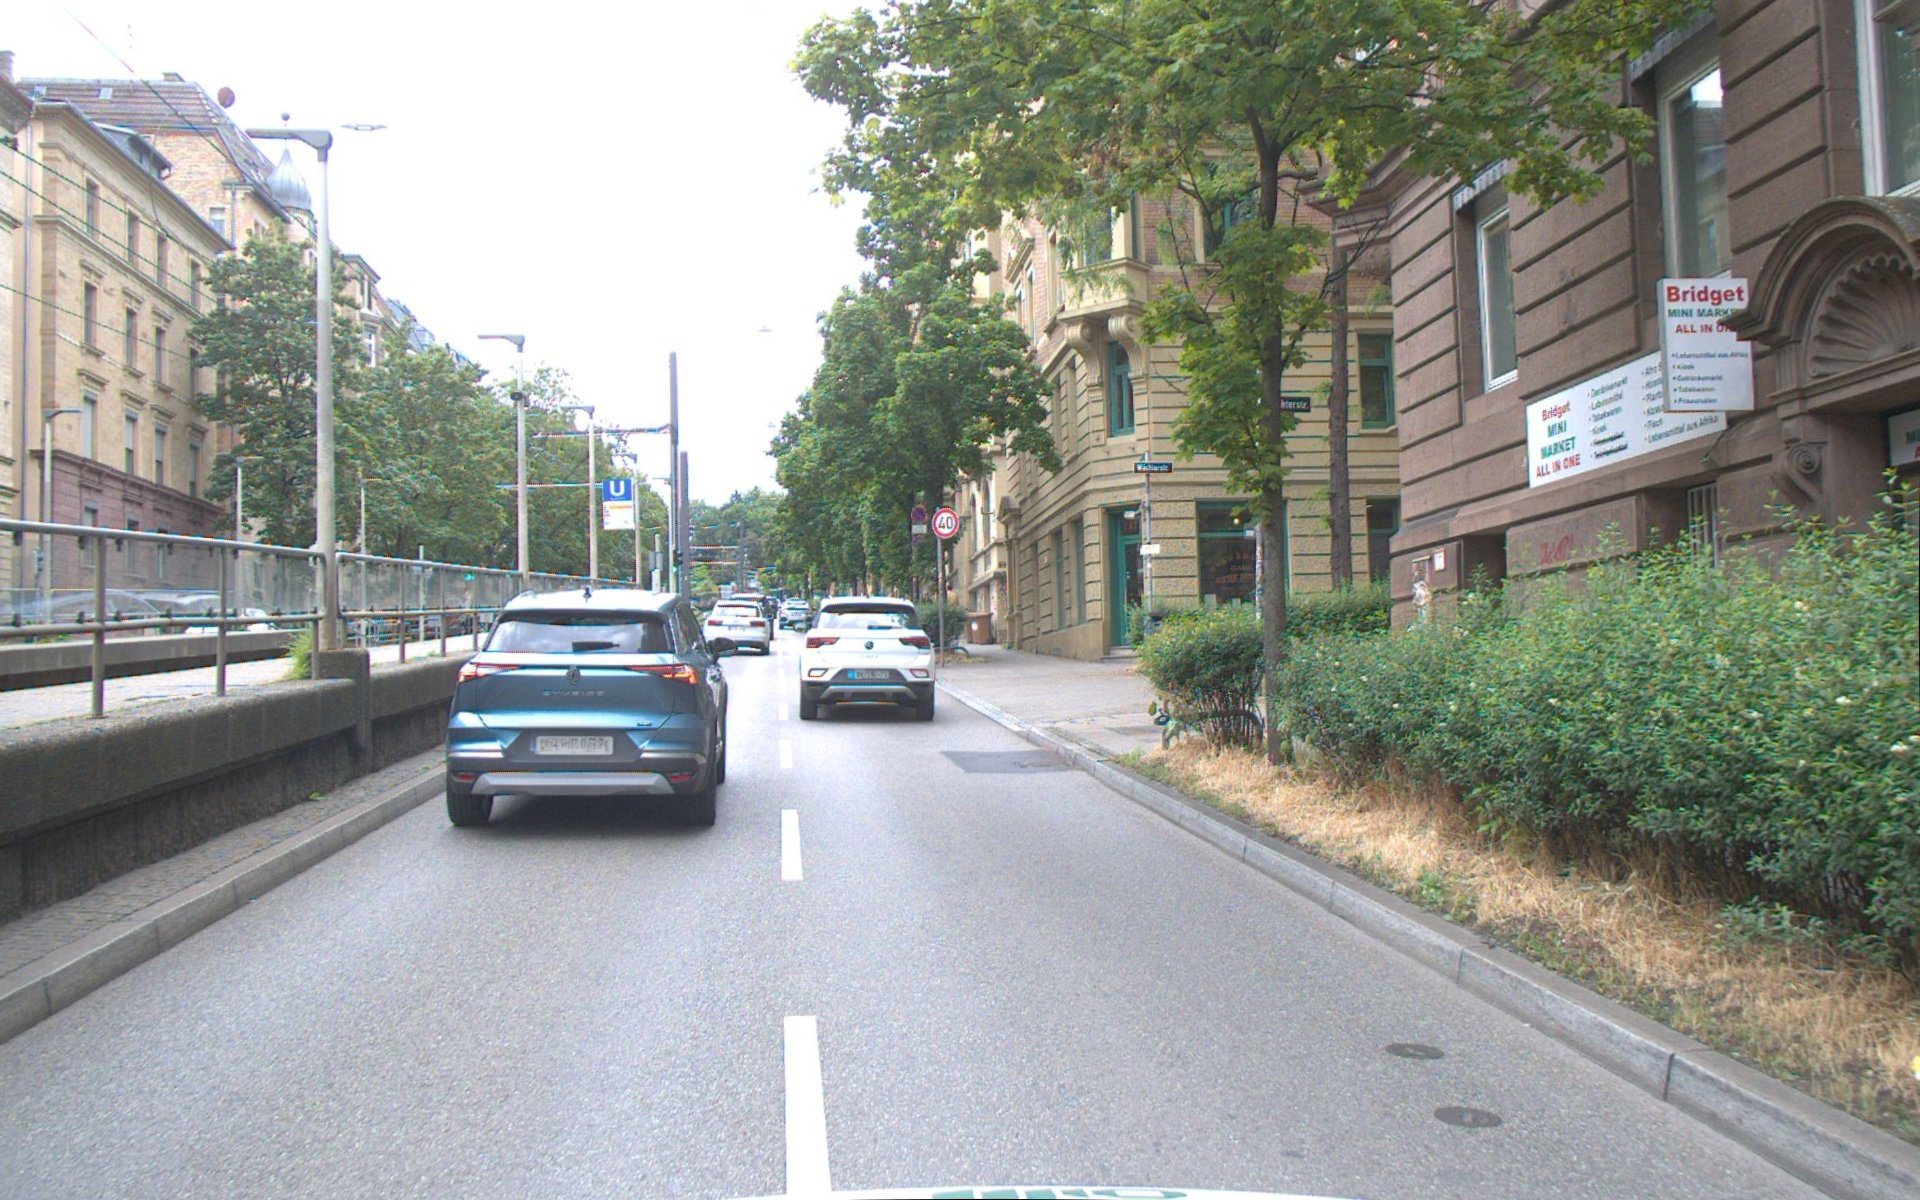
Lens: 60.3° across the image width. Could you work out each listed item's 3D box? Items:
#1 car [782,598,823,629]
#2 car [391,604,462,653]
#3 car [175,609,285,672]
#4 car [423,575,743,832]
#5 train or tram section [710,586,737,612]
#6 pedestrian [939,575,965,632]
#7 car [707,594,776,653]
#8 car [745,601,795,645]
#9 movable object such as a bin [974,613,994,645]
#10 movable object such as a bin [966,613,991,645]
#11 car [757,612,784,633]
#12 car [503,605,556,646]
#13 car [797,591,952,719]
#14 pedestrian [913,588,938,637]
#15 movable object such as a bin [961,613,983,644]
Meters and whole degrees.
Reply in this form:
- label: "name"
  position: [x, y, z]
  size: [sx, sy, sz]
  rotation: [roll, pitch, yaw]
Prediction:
- label: "car"
  position: [-8.079, 0.693, 85.122]
  size: [2.028, 1.574, 4.189]
  rotation: [1, -1, -5]
- label: "car"
  position: [-22.094, 1.150, 68.611]
  size: [1.812, 1.892, 4.135]
  rotation: [-1, 0, -4]
- label: "car"
  position: [-22.177, 1.195, 50.380]
  size: [1.899, 1.709, 3.994]
  rotation: [-2, 0, -7]
- label: "car"
  position: [-2.592, 0.661, 12.309]
  size: [1.800, 1.574, 4.188]
  rotation: [1, -1, -6]
- label: "train or tram section"
  position: [-31.762, -0.090, 222.584]
  size: [2.938, 3.407, 13.423]
  rotation: [-1, 0, -5]
- label: "pedestrian"
  position: [-0.266, 0.125, 55.291]
  size: [0.672, 1.861, 1.120]
  rotation: [-2, -1, -6]
- label: "car"
  position: [-6.137, 0.653, 46.742]
  size: [1.800, 1.574, 4.188]
  rotation: [1, -1, -6]
- label: "car"
  position: [-7.073, 0.848, 61.810]
  size: [1.800, 1.574, 4.188]
  rotation: [1, -1, -6]
- label: "movable object such as a bin"
  position: [0.728, 0.869, 49.342]
  size: [0.489, 0.935, 0.444]
  rotation: [-1, 0, 13]
- label: "movable object such as a bin"
  position: [0.556, 0.871, 49.980]
  size: [0.484, 0.935, 0.499]
  rotation: [-3, 0, 42]
- label: "car"
  position: [-14.455, 1.735, 126.028]
  size: [2.029, 1.574, 4.186]
  rotation: [1, -1, -7]
- label: "car"
  position: [-19.970, 1.148, 76.837]
  size: [1.676, 1.766, 4.570]
  rotation: [-1, 0, -6]
- label: "car"
  position: [-1.251, 0.707, 22.543]
  size: [1.801, 1.574, 4.186]
  rotation: [1, -1, -7]
- label: "pedestrian"
  position: [-1.148, 0.407, 55.362]
  size: [0.672, 1.601, 1.215]
  rotation: [-2, 0, -6]
- label: "movable object such as a bin"
  position: [0.371, 0.869, 50.551]
  size: [0.600, 0.935, 0.493]
  rotation: [-3, 0, -4]
